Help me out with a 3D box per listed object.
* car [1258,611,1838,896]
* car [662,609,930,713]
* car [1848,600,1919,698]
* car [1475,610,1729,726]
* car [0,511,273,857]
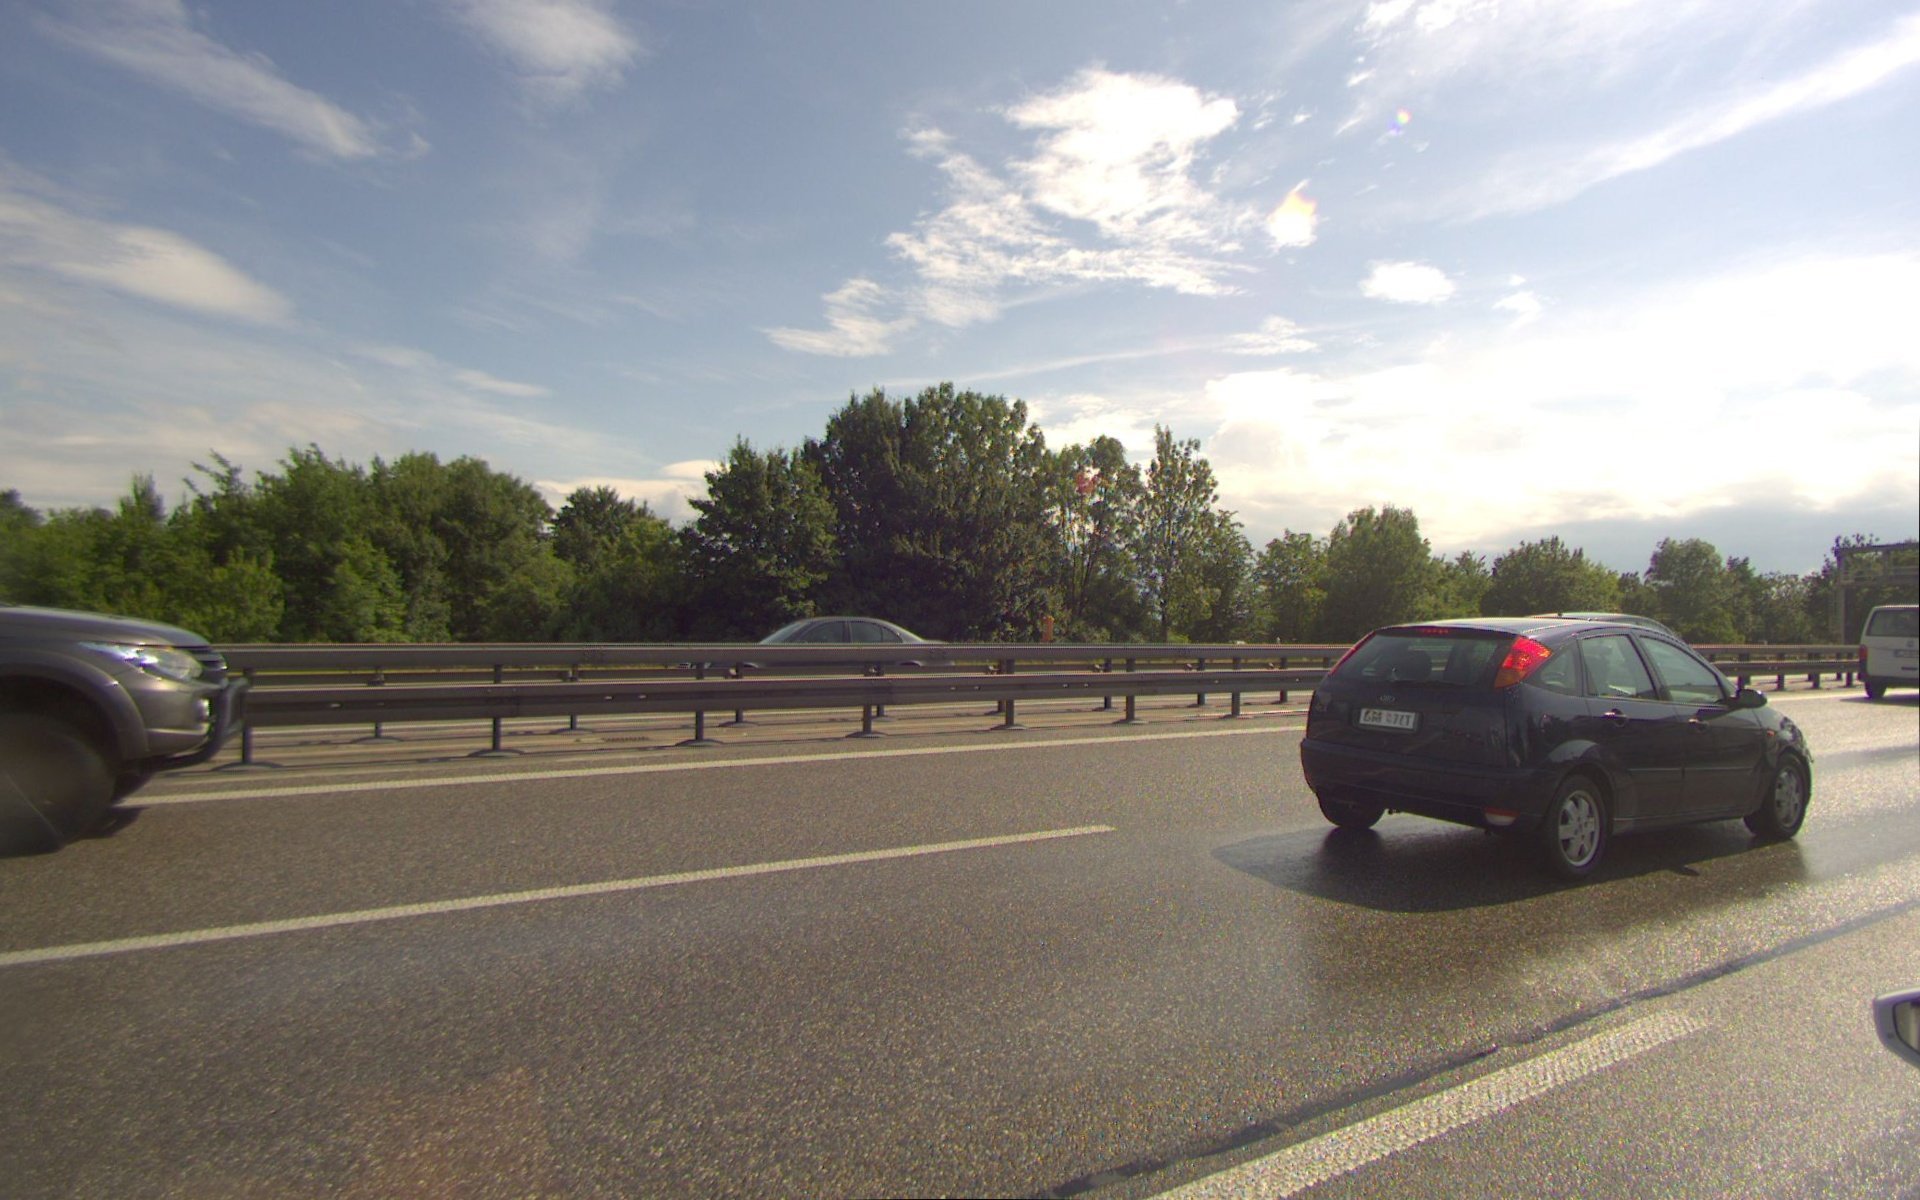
[{"bbox_3d":[4.148,0.847,6.978,3.952,1.462,1.750,1,0,-30],"label":"car"},{"bbox_3d":[-2.618,0.935,16.285,3.953,1.483,1.670,1,0,-30],"label":"car"},{"bbox_3d":[21.425,1.043,21.799,4.959,1.959,1.838,1,0,-31],"label":"car"},{"bbox_3d":[10.076,0.992,15.725,3.870,1.599,1.774,1,0,-30],"label":"car"},{"bbox_3d":[-7.036,0.419,5.382,5.353,1.869,1.798,1,0,-30],"label":"car"}]
